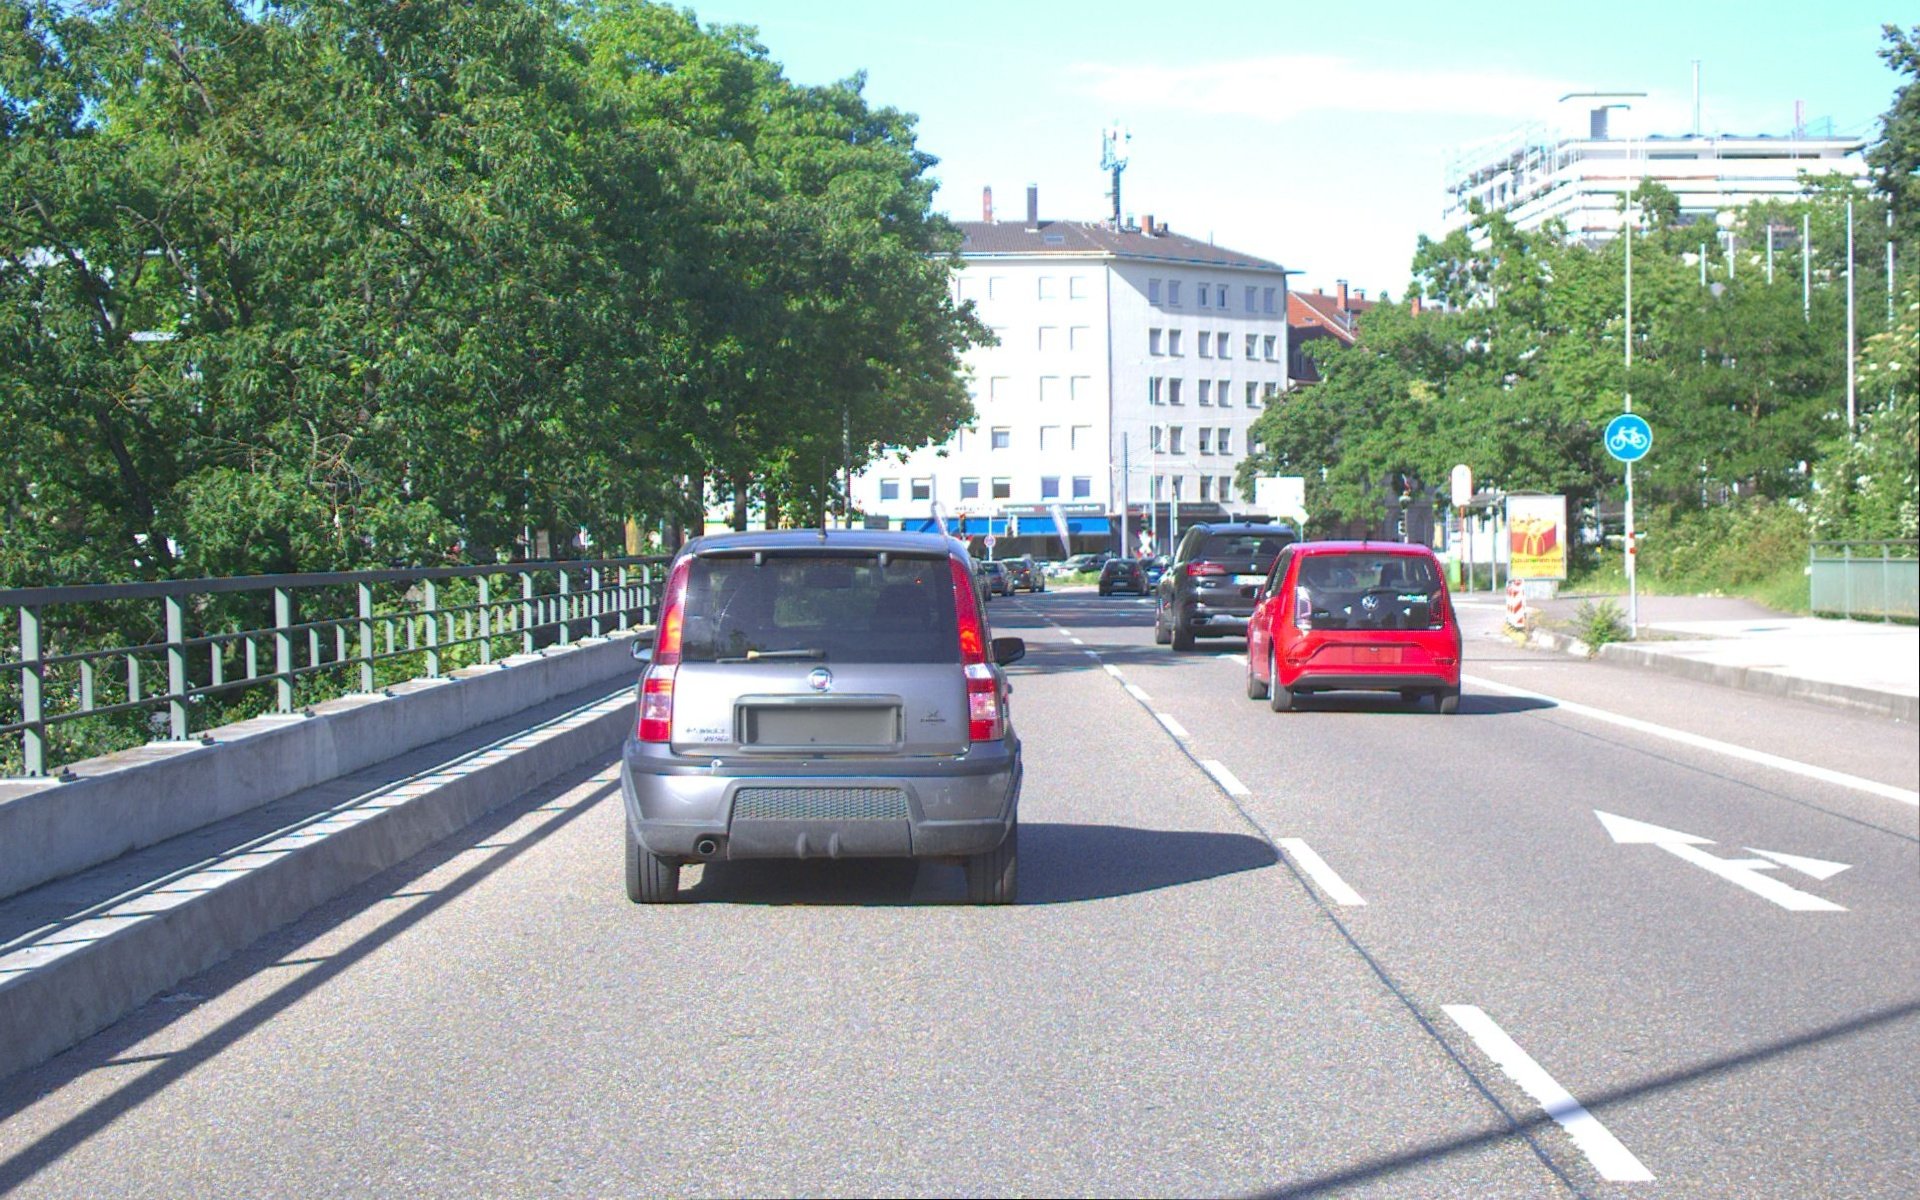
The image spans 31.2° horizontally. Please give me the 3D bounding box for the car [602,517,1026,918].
[{"bbox_3d":[-0.575,0.407,15.131,1.617,1.510,3.820,0,2,0],"label":"car"}]

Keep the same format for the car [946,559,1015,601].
[{"bbox_3d":[0.806,-0.760,130.690,1.946,1.523,4.096,0,1,10],"label":"car"}]

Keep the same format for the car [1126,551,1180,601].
[{"bbox_3d":[7.747,-0.957,137.697,1.945,1.834,4.152,-4,0,5],"label":"car"}]

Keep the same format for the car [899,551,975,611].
[{"bbox_3d":[-0.590,-0.525,91.716,1.945,1.523,4.097,0,1,1],"label":"car"}]

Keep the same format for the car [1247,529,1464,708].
[{"bbox_3d":[3.482,0.115,30.782,1.617,1.458,3.751,1,2,2],"label":"car"}]

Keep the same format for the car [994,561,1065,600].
[{"bbox_3d":[2.870,-0.803,140.825,1.946,1.523,4.094,0,1,16],"label":"car"}]

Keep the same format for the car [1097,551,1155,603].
[{"bbox_3d":[6.309,-0.872,130.373,1.945,1.834,4.152,-4,0,5],"label":"car"}]

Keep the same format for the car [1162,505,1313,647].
[{"bbox_3d":[3.803,-0.320,47.542,1.945,1.834,4.152,1,0,4],"label":"car"}]
